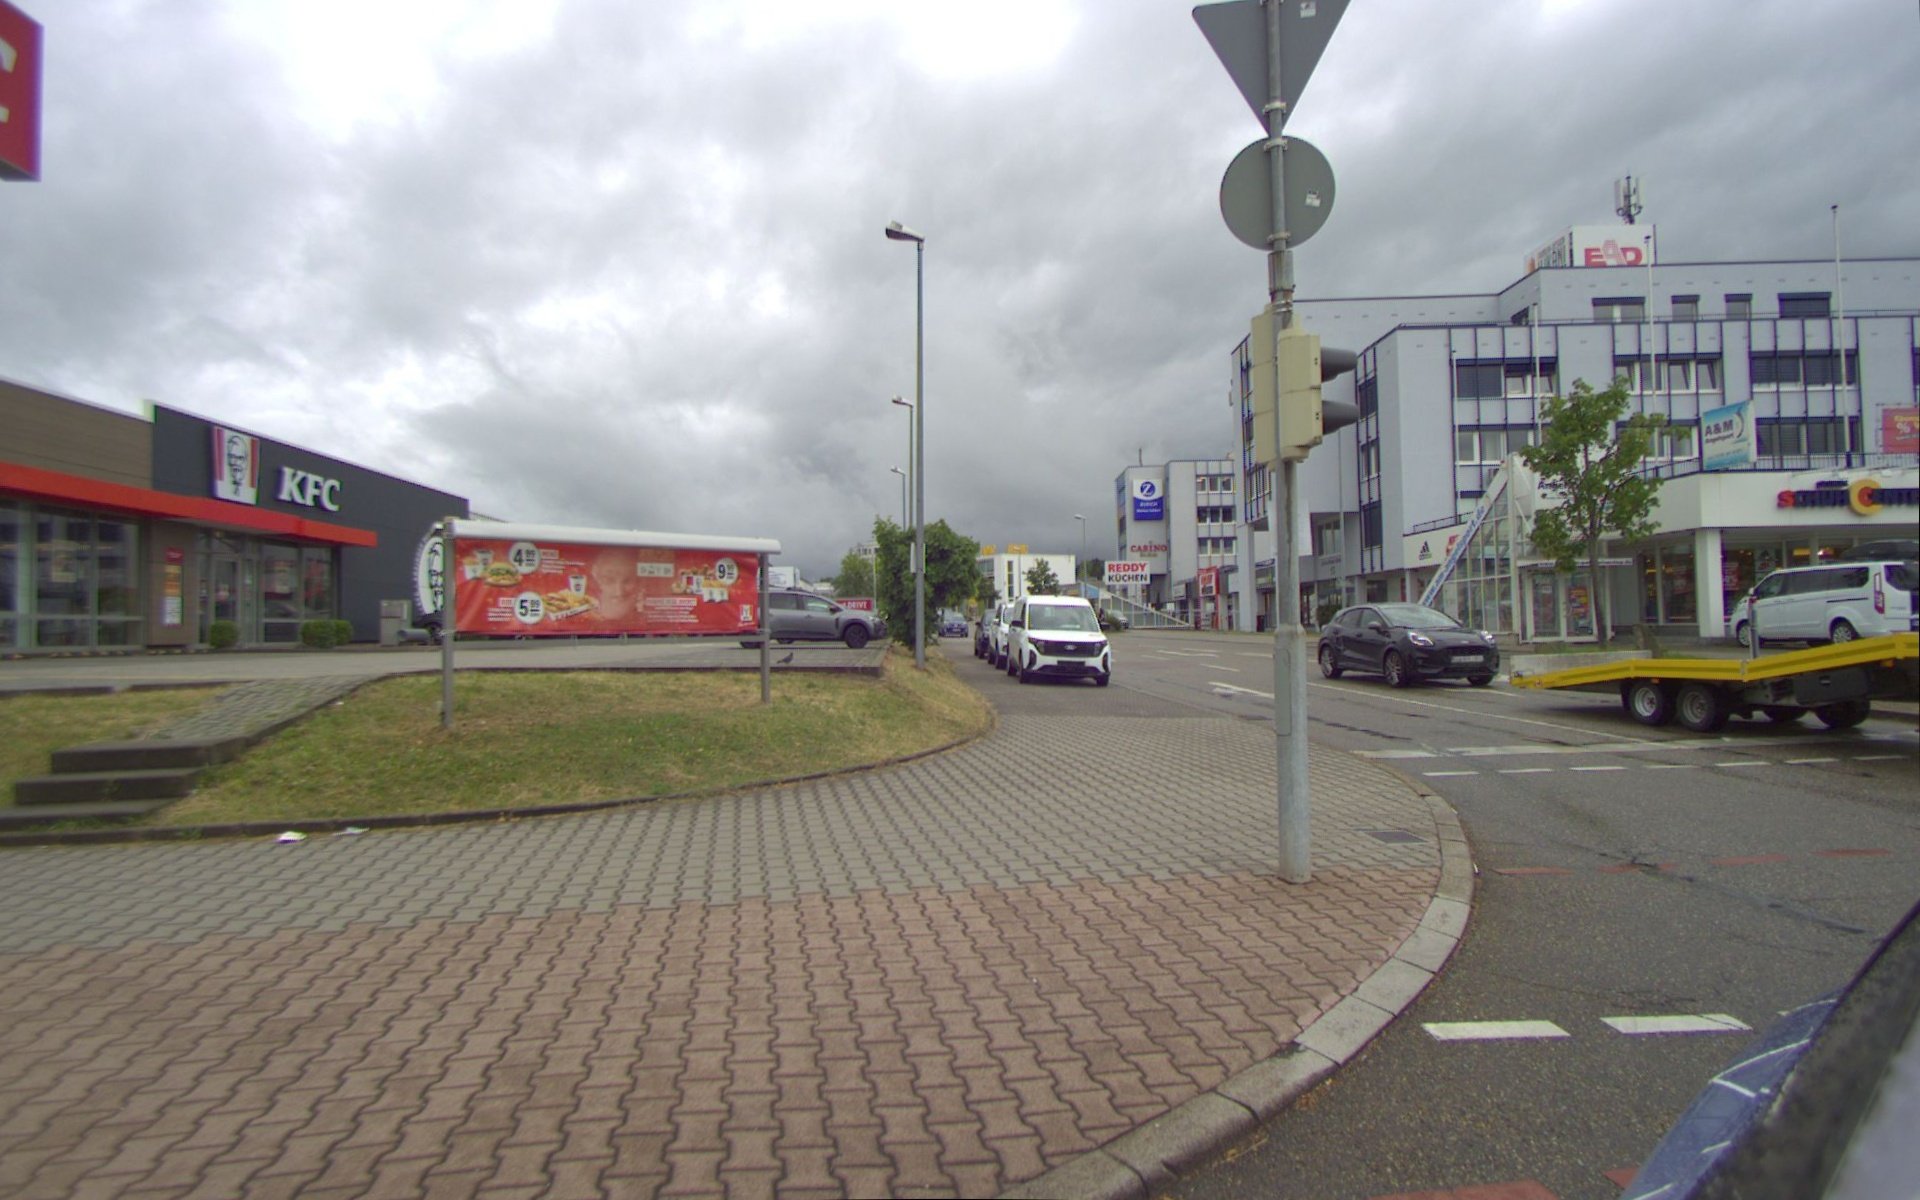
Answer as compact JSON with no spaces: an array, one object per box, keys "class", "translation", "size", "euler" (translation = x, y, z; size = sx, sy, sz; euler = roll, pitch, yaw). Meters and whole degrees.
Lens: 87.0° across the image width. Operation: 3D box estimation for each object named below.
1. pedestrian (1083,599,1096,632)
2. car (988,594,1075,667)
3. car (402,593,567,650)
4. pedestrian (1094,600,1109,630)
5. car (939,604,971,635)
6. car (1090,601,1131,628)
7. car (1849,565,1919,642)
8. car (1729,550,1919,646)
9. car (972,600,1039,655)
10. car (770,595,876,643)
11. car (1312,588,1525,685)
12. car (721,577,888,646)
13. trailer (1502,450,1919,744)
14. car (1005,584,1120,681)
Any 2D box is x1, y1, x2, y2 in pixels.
[{"class":"pedestrian","translation":[6.945,0.815,54.292],"size":[0.540,1.729,0.519],"euler":[-2,-1,-1]},{"class":"car","translation":[1.771,0.749,26.419],"size":[1.788,1.730,4.001],"euler":[-1,-1,-2]},{"class":"car","translation":[-15.902,0.711,34.059],"size":[4.647,1.763,1.895],"euler":[-1,-1,-7]},{"class":"pedestrian","translation":[8.285,0.870,59.389],"size":[0.640,1.765,0.582],"euler":[-2,-1,31]},{"class":"car","translation":[-0.324,1.161,61.493],"size":[1.788,1.730,4.001],"euler":[-1,-1,-2]},{"class":"car","translation":[9.392,0.911,63.417],"size":[1.788,1.631,4.001],"euler":[-1,-1,-2]},{"class":"car","translation":[24.108,0.057,24.163],"size":[1.861,1.843,4.373],"euler":[-1,-1,1]},{"class":"car","translation":[20.983,-0.040,23.953],"size":[1.963,2.039,4.784],"euler":[-1,-1,2]},{"class":"car","translation":[1.390,0.856,32.438],"size":[1.788,1.619,4.001],"euler":[-1,-1,-2]},{"class":"car","translation":[-5.494,0.746,40.876],"size":[4.102,1.797,1.883],"euler":[-1,0,-5]},{"class":"car","translation":[8.495,0.648,19.182],"size":[1.778,1.560,4.004],"euler":[-3,-1,-7]},{"class":"car","translation":[-4.271,0.308,28.138],"size":[4.411,1.763,1.895],"euler":[-1,-1,-7]},{"class":"trailer","translation":[9.168,-0.025,10.487],"size":[2.265,2.505,7.976],"euler":[-1,0,-4]},{"class":"car","translation":[2.018,0.635,21.125],"size":[1.764,1.806,4.250],"euler":[1,-1,-3]}]
